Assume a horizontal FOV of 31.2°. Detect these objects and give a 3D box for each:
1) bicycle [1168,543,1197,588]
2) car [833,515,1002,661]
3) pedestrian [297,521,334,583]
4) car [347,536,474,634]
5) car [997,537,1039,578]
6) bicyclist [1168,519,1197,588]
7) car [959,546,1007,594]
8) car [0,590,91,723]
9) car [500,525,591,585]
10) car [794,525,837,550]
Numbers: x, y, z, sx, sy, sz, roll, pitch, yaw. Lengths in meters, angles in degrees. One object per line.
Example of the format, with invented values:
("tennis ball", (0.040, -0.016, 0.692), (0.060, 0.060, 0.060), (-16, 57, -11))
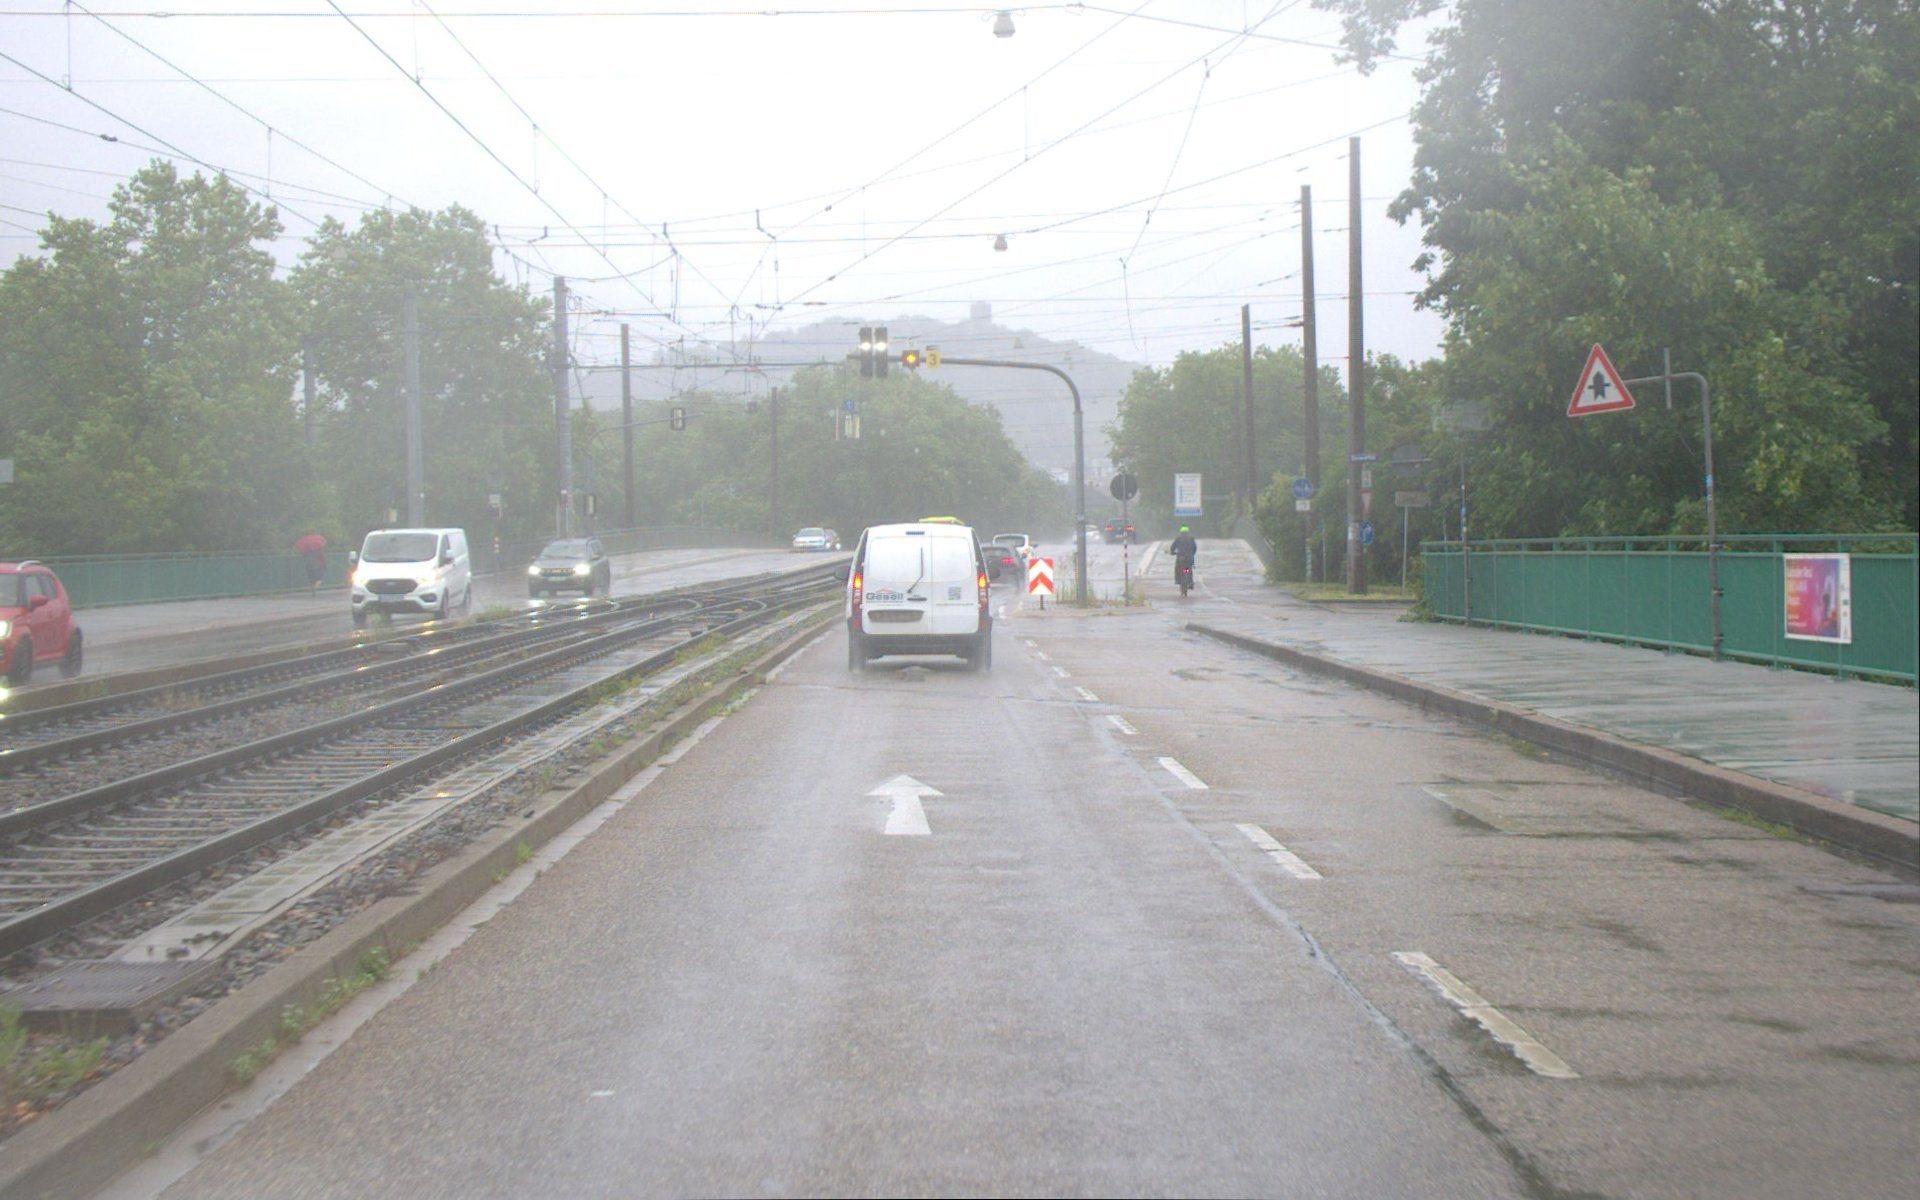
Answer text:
("bicycle", (5.769, -0.907, 89.023), (0.723, 1.125, 2.167), (1, 1, 4))
("car", (-0.538, -0.158, 43.055), (1.993, 1.720, 4.000), (1, 0, -1))
("pedestrian", (-19.038, -1.402, 101.529), (0.864, 1.812, 1.043), (1, 0, 2))
("car", (-11.893, -0.367, 74.719), (1.993, 2.037, 5.028), (1, 1, -1))
("car", (2.144, -1.561, 126.996), (1.451, 1.494, 2.982), (1, 0, 0))
("bicyclist", (5.771, -1.202, 89.051), (0.725, 1.758, 0.949), (1, 0, 4))
("car", (0.722, -0.943, 108.594), (1.451, 1.494, 2.982), (1, 0, 0))
("car", (-12.378, 0.681, 43.800), (1.724, 1.595, 3.651), (1, 0, -1))
("car", (-11.710, -1.290, 97.449), (1.993, 1.643, 5.372), (1, 1, -1))
("car", (-8.125, -3.529, 193.200), (1.934, 1.227, 4.100), (-2, 3, 4))
